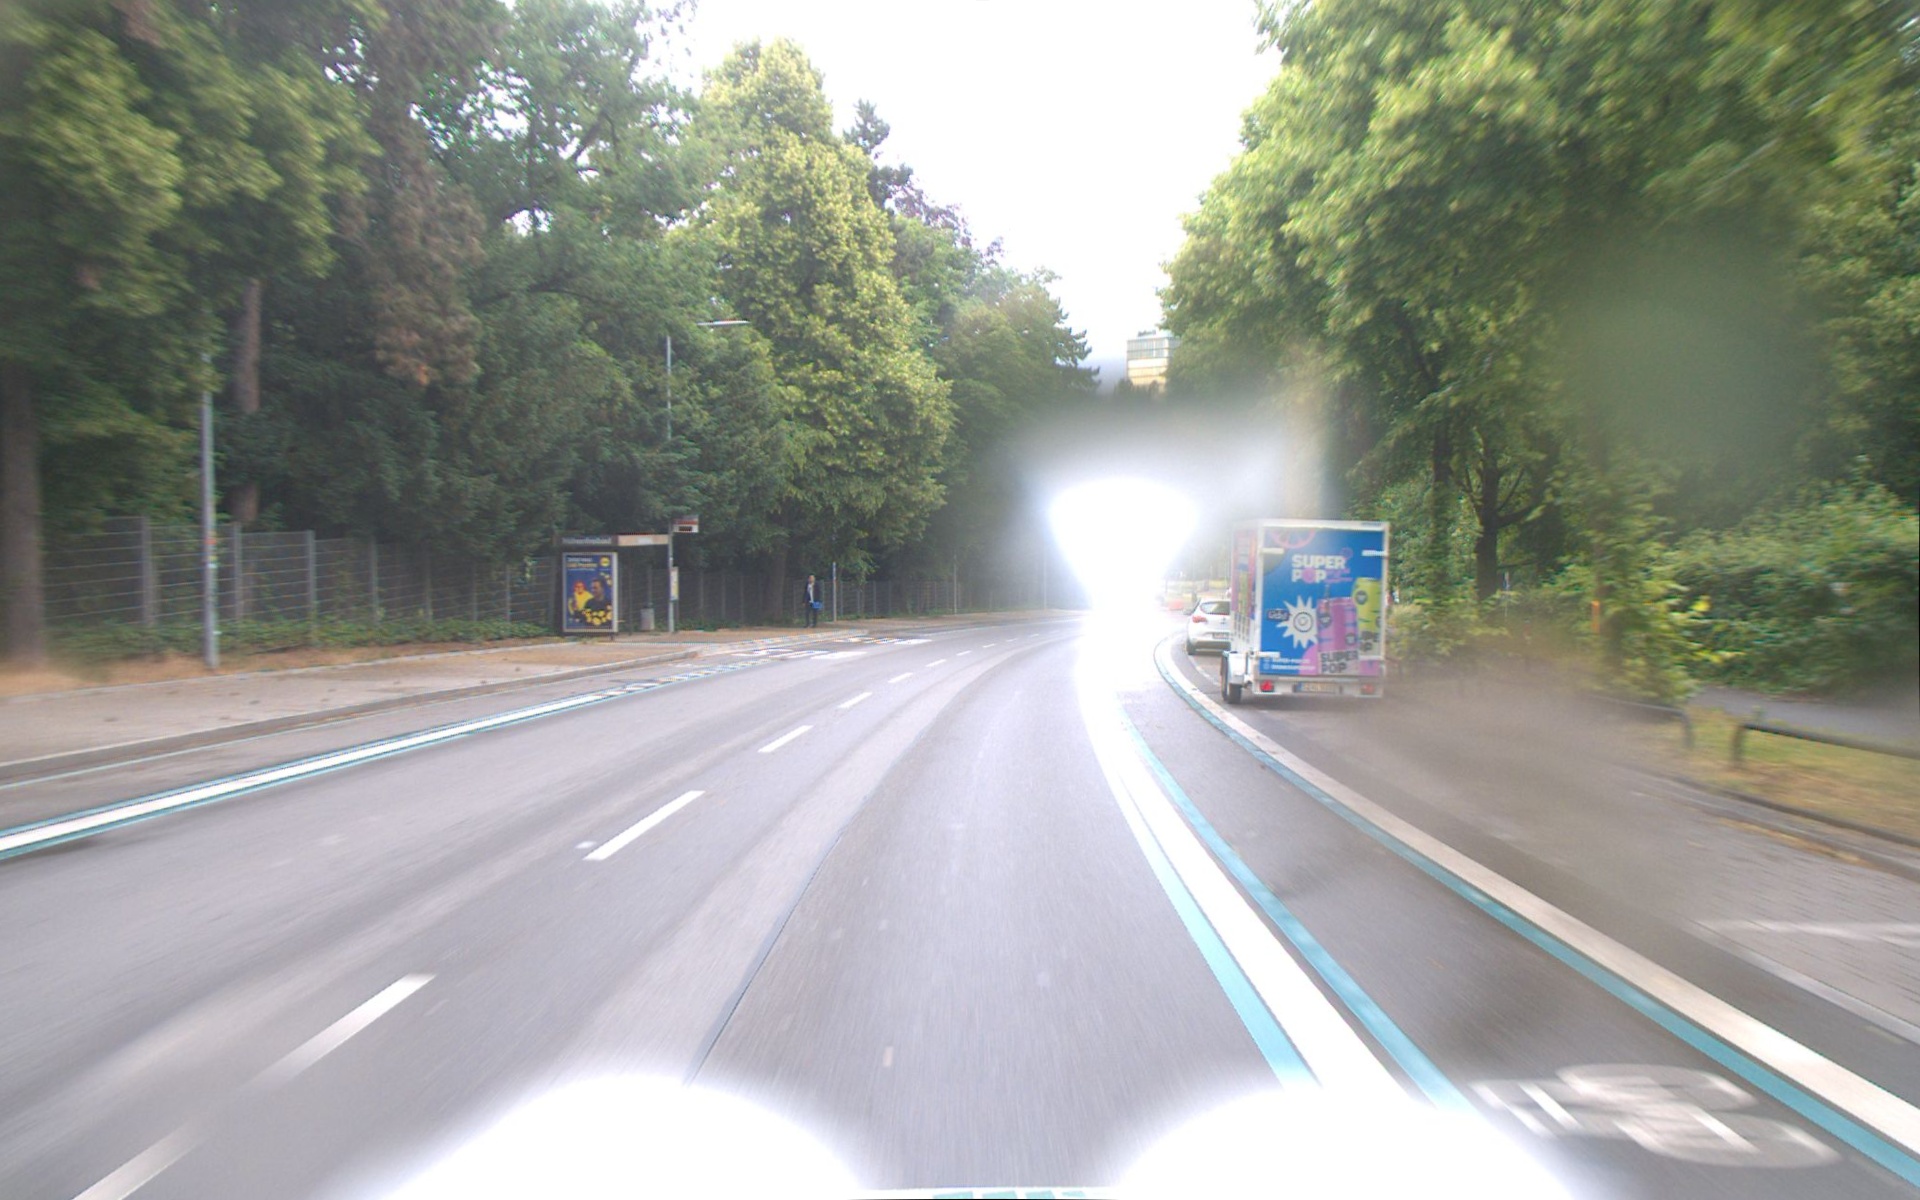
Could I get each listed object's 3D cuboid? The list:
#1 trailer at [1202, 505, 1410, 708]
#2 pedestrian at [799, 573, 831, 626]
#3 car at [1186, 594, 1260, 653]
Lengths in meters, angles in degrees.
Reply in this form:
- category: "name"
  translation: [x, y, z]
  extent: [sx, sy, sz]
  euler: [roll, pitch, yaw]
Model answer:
- category: "trailer"
  translation: [5.084, 0.072, 25.127]
  extent: [2.267, 2.718, 5.378]
  euler: [1, 0, 3]
- category: "pedestrian"
  translation: [-4.888, -0.015, 55.833]
  extent: [0.868, 1.763, 1.146]
  euler: [1, 0, 4]
- category: "car"
  translation: [7.028, 0.602, 44.470]
  extent: [1.820, 1.453, 4.653]
  euler: [2, 0, 8]
